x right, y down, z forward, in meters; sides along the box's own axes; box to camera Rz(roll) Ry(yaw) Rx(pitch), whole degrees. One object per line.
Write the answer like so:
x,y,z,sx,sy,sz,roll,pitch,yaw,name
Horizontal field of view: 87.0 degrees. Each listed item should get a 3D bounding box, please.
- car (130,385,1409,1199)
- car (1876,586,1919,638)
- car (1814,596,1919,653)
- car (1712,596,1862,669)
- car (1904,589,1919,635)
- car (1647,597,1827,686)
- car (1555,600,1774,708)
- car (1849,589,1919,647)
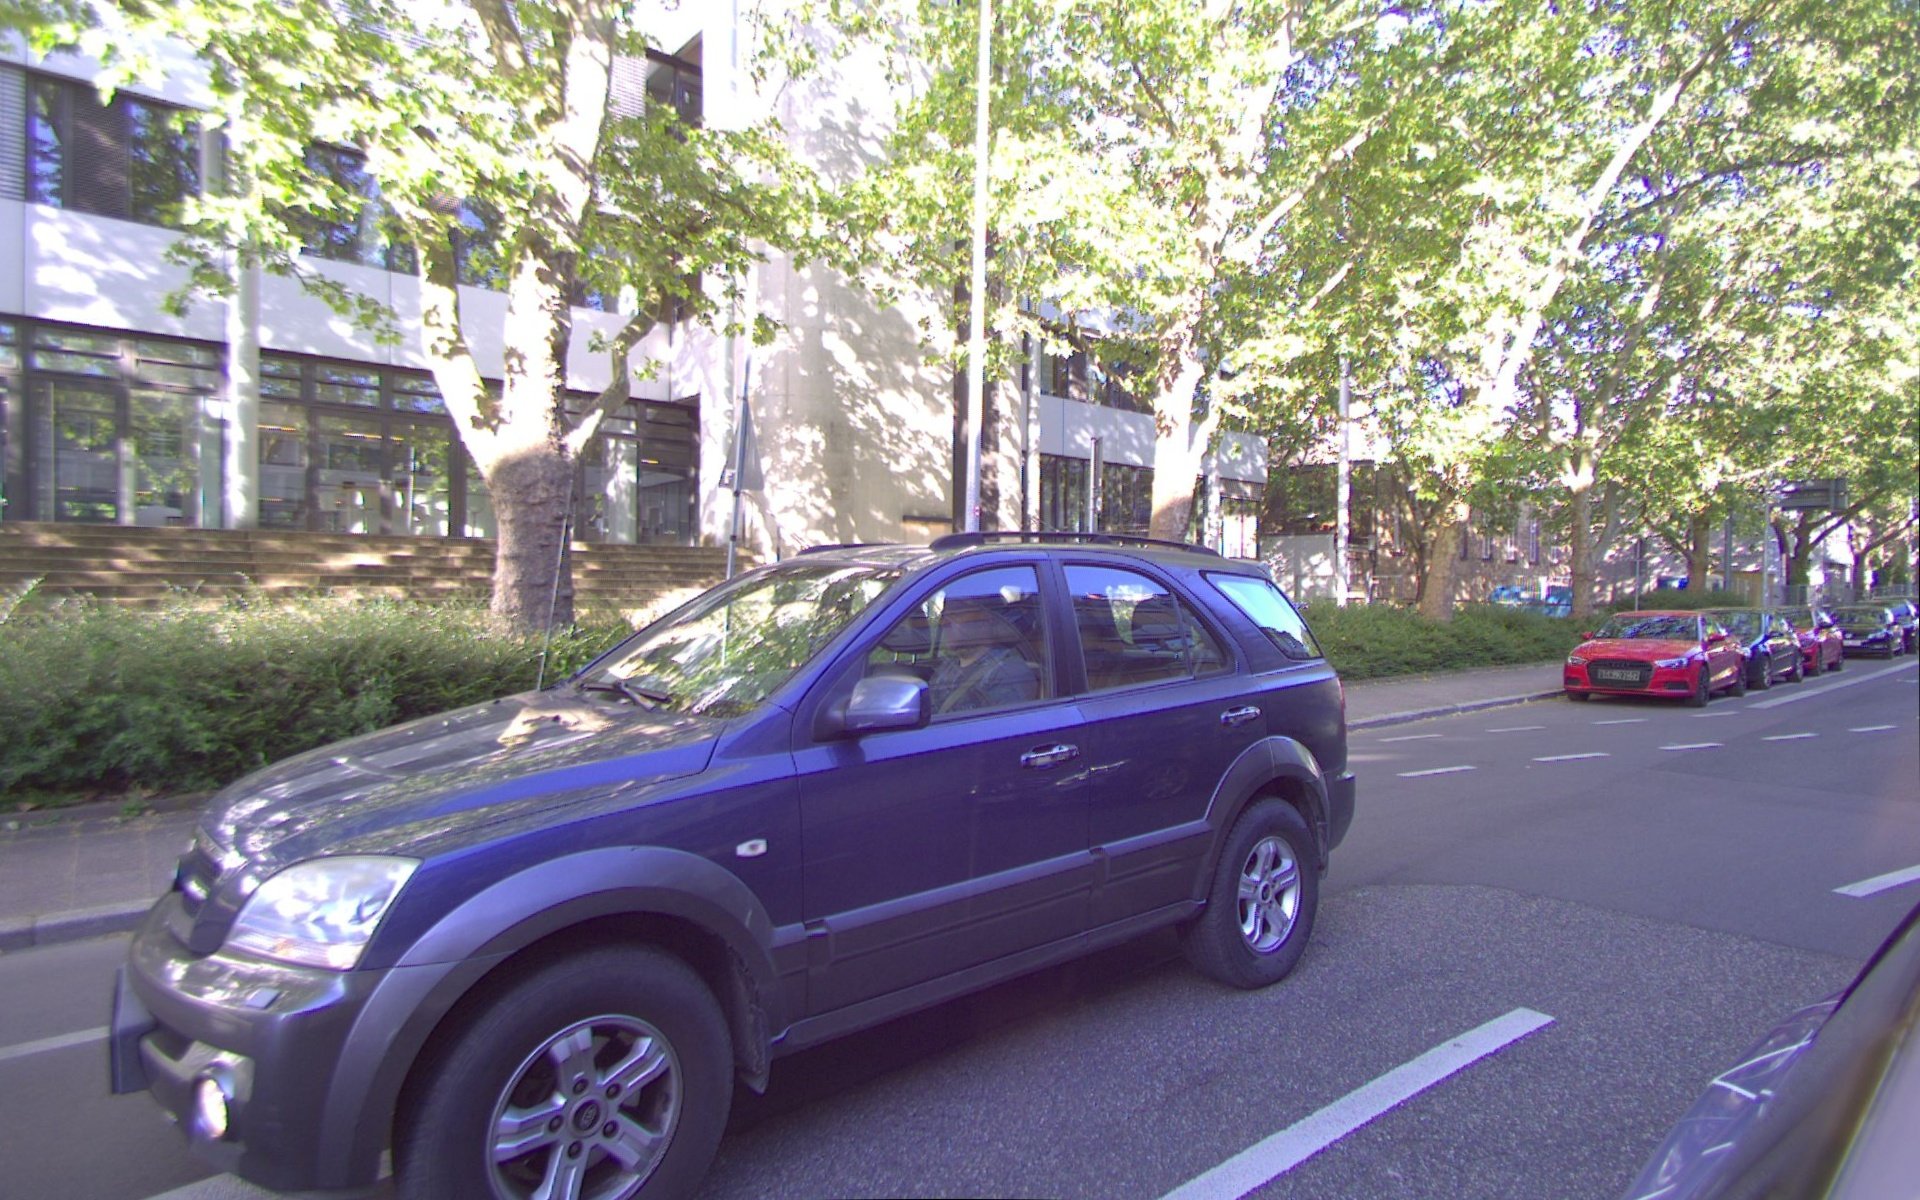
-0.251,0.529,3.799,4.403,1.786,1.865,0,0,-41,car
33.906,0.398,35.705,4.403,1.781,1.865,0,0,-41,car
25.790,0.624,28.619,4.403,1.469,1.865,0,0,-41,car
18.435,0.640,22.484,4.403,1.469,1.865,0,0,-41,car
38.872,0.447,39.976,4.403,1.781,1.865,0,0,-41,car
14.767,0.696,19.146,4.403,1.469,1.865,0,0,-41,car
11.320,0.742,16.145,4.403,1.469,1.865,0,0,-41,car
29.569,0.517,31.814,4.403,1.689,1.865,0,0,-41,car
